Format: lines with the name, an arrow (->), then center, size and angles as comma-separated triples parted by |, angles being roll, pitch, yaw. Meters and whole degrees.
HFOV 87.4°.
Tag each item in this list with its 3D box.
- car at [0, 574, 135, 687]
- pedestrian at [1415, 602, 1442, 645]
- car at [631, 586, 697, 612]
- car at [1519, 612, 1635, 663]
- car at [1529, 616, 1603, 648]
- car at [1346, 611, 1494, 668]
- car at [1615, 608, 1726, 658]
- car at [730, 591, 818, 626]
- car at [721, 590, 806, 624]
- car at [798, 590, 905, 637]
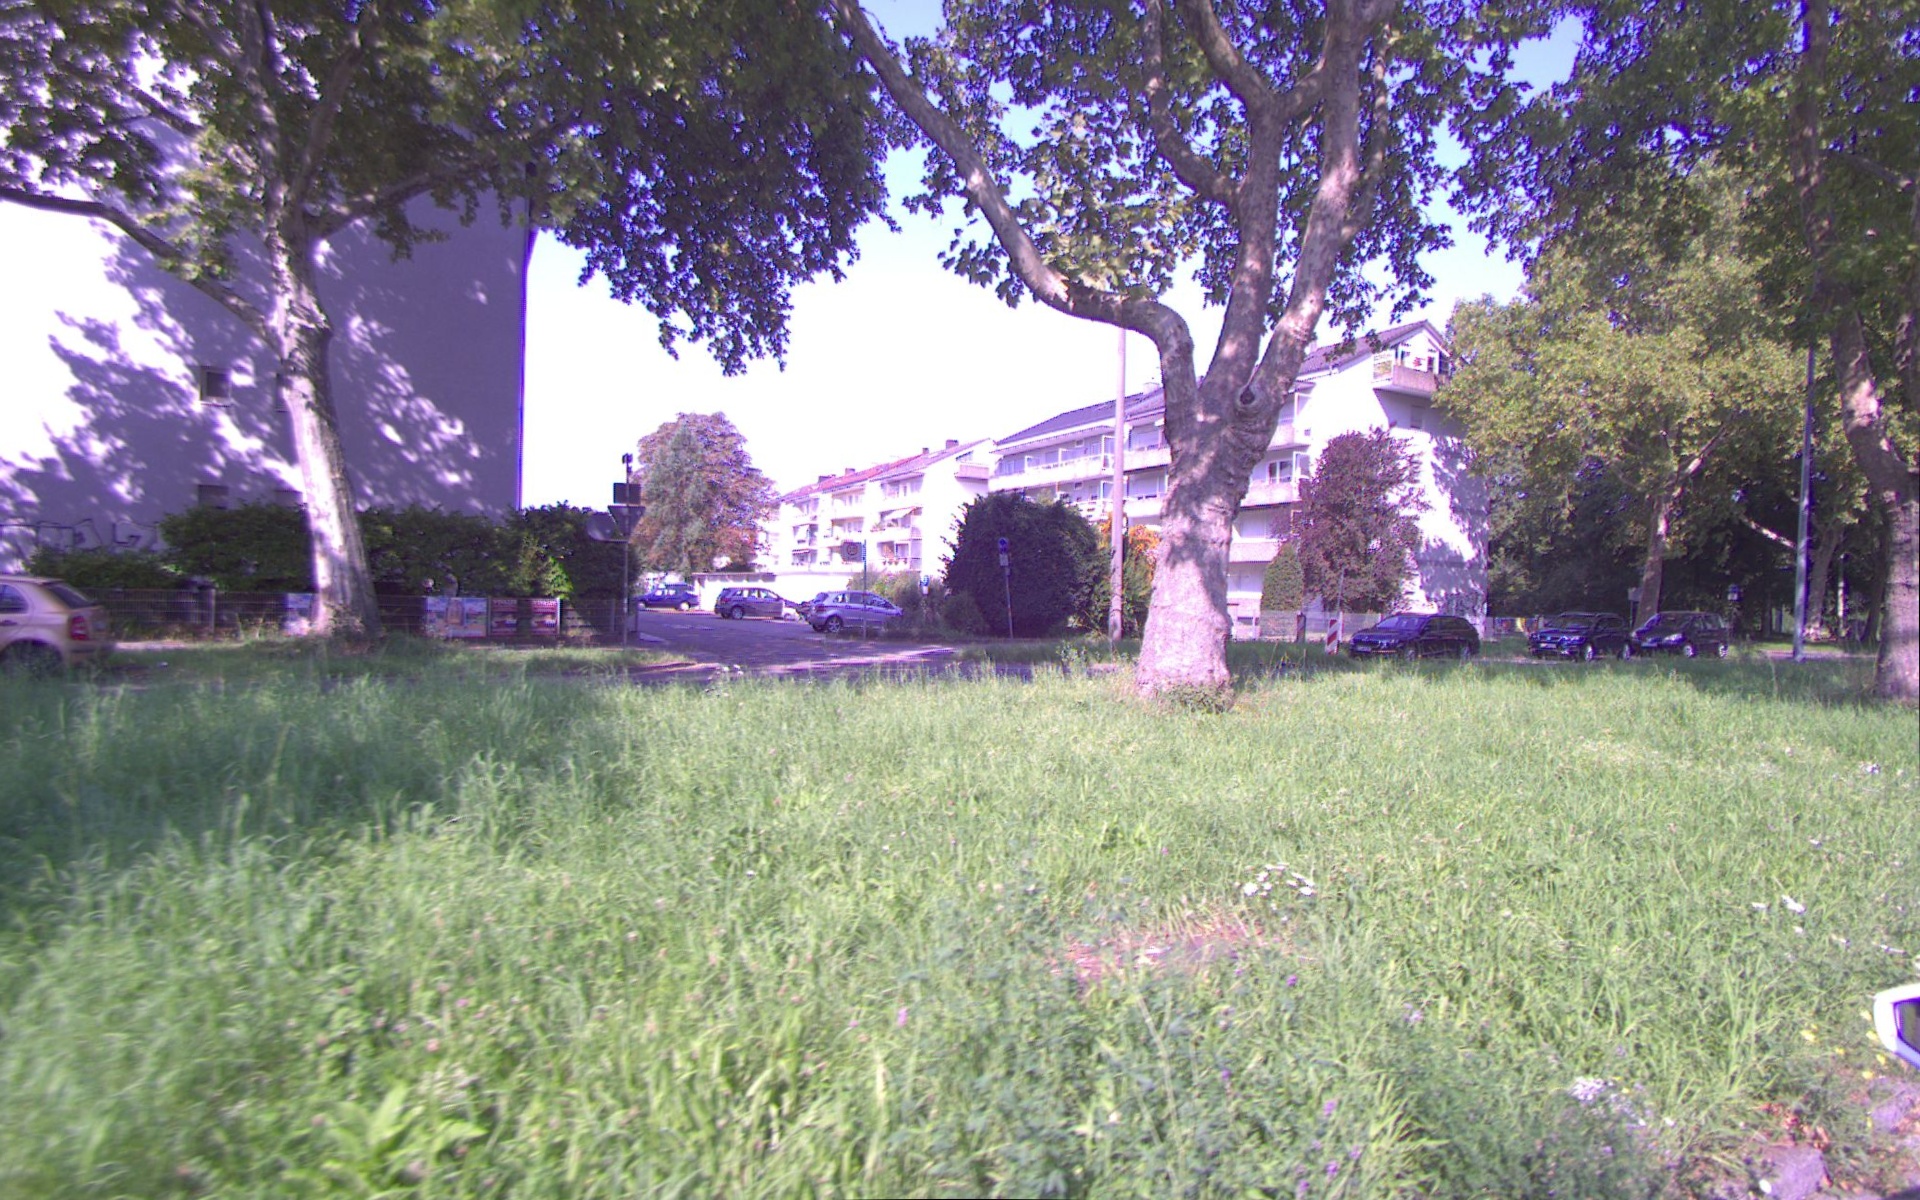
car -> -13.775, 0.368, 13.378 | 4.015, 1.449, 1.794 | 1, 1, -29
pedestrian -> 18.677, 0.929, 40.066 | 0.727, 1.667, 0.643 | 2, 1, -32
car -> -17.955, -0.063, 60.973 | 3.634, 1.458, 1.537 | 2, 1, -27
car -> 20.973, 1.265, 34.113 | 3.954, 1.588, 1.691 | 2, 0, -31
car -> 36.266, 1.904, 60.111 | 4.330, 1.749, 1.691 | 2, 1, -26
car -> 13.533, 1.146, 29.460 | 4.488, 1.528, 1.691 | 2, 0, -31
car -> 26.990, 1.255, 38.127 | 4.606, 1.755, 1.691 | 2, 1, -31
car -> -8.441, 0.379, 45.701 | 3.634, 1.458, 1.537 | 2, 1, -27
car -> -9.296, 0.337, 47.537 | 3.634, 1.458, 1.537 | 2, 1, -27
car -> -4.135, 0.508, 38.305 | 3.695, 1.648, 1.605 | 2, 1, -23
